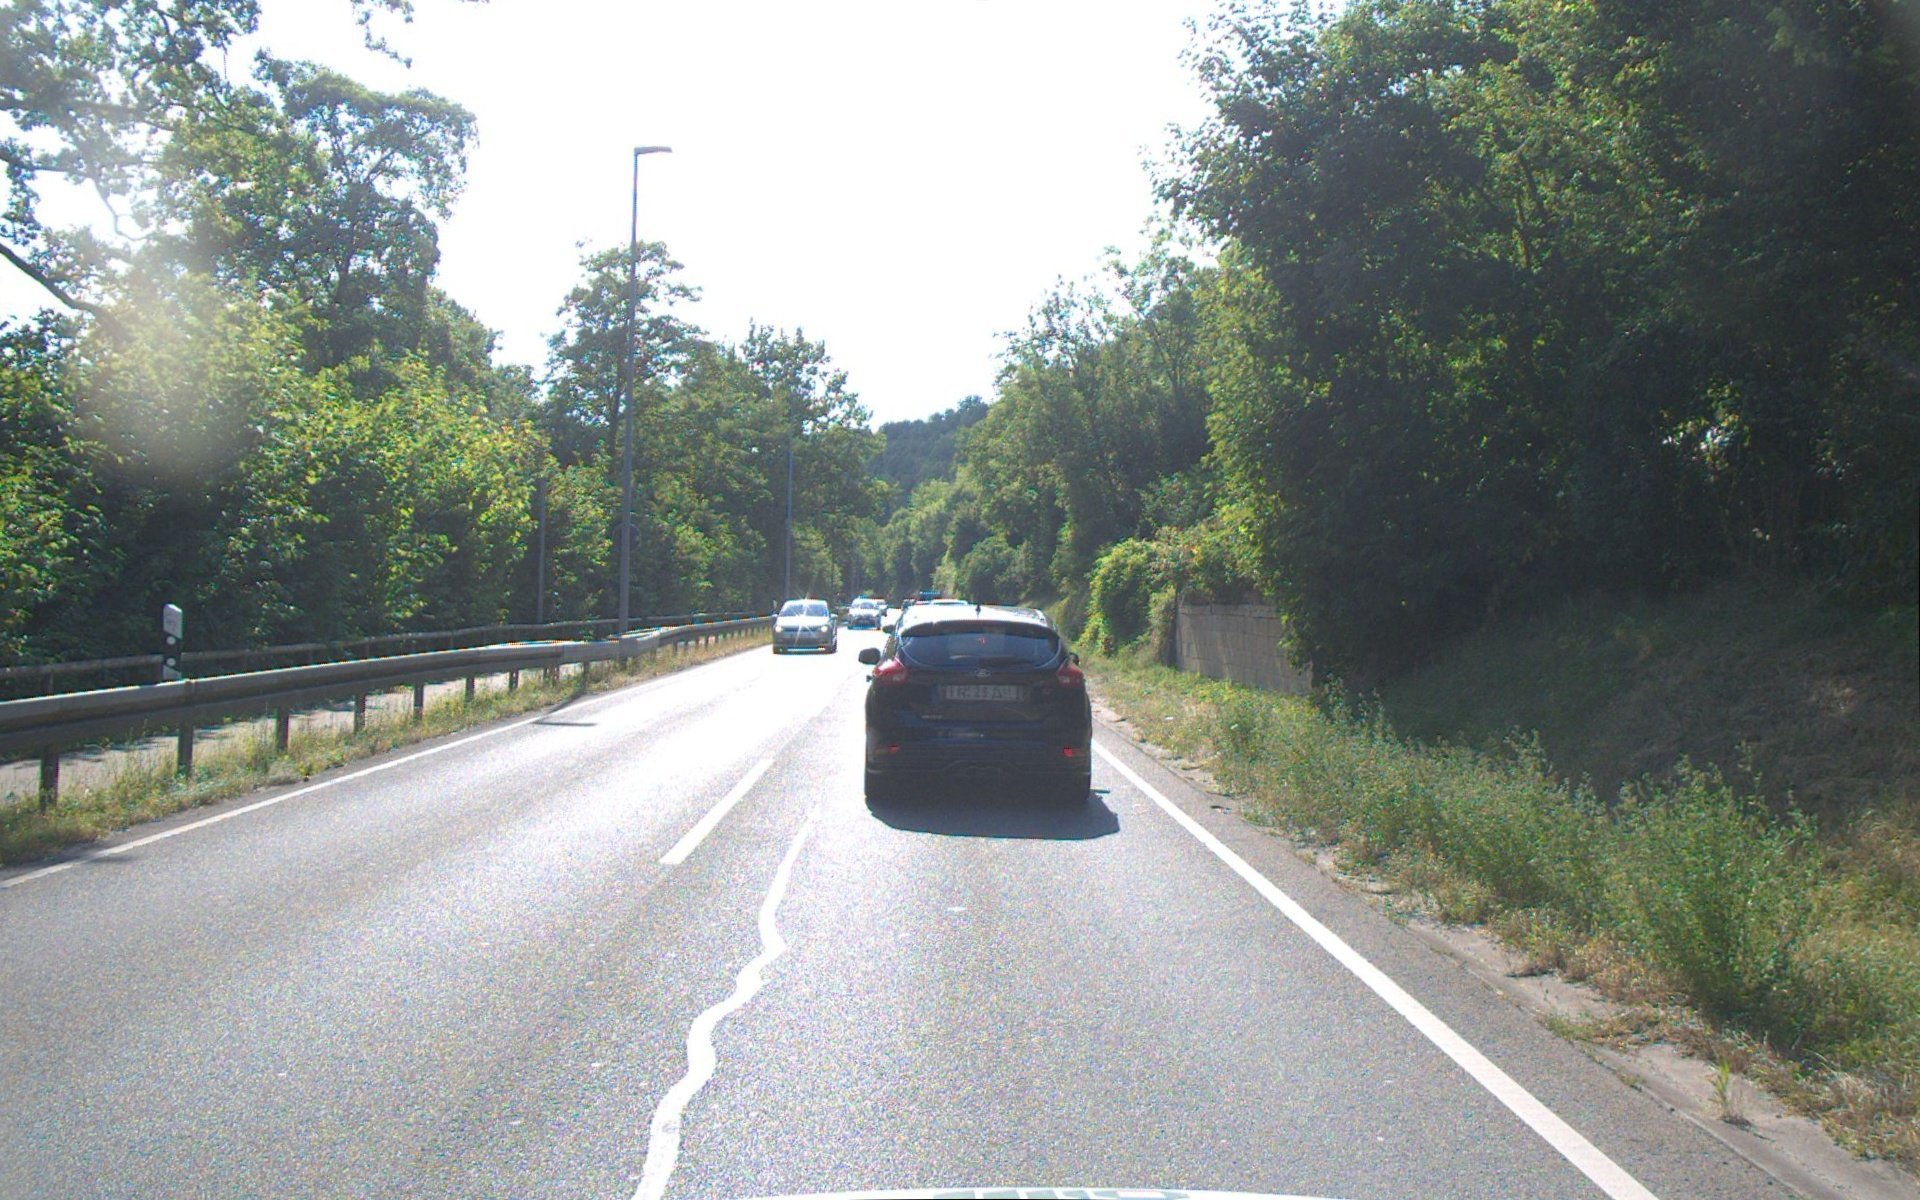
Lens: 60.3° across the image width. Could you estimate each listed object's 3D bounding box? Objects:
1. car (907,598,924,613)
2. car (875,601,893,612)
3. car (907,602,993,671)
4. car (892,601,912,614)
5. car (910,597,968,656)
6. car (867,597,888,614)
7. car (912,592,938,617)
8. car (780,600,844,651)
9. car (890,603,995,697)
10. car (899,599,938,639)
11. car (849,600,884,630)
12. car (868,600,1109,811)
[{"bbox_3d":[-4.700,0.556,176.047,1.782,1.545,3.999,0,0,-1],"label":"car"},{"bbox_3d":[-10.653,0.916,231.520,1.957,1.545,3.991,0,0,-10],"label":"car"},{"bbox_3d":[-0.239,0.754,36.016,1.768,1.416,3.999,0,0,-1],"label":"car"},{"bbox_3d":[-7.082,0.887,201.692,1.956,1.545,3.992,0,0,-8],"label":"car"},{"bbox_3d":[-0.624,0.723,47.876,1.597,1.624,3.999,0,0,-1],"label":"car"},{"bbox_3d":[-7.157,0.460,143.680,1.739,1.412,3.999,0,0,-1],"label":"car"},{"bbox_3d":[-2.667,0.314,124.674,1.826,1.812,3.998,0,0,-3],"label":"car"},{"bbox_3d":[-4.292,0.715,48.349,1.590,1.401,4.046,0,0,-2],"label":"car"},{"bbox_3d":[-0.261,0.787,27.856,1.627,1.443,4.000,1,0,0],"label":"car"},{"bbox_3d":[-1.740,0.795,70.043,1.597,1.624,3.999,0,0,-1],"label":"car"},{"bbox_3d":[-4.840,0.758,85.732,1.647,1.489,4.196,1,0,-2],"label":"car"},{"bbox_3d":[0.179,0.764,13.823,1.704,1.482,3.999,1,0,-1],"label":"car"}]
